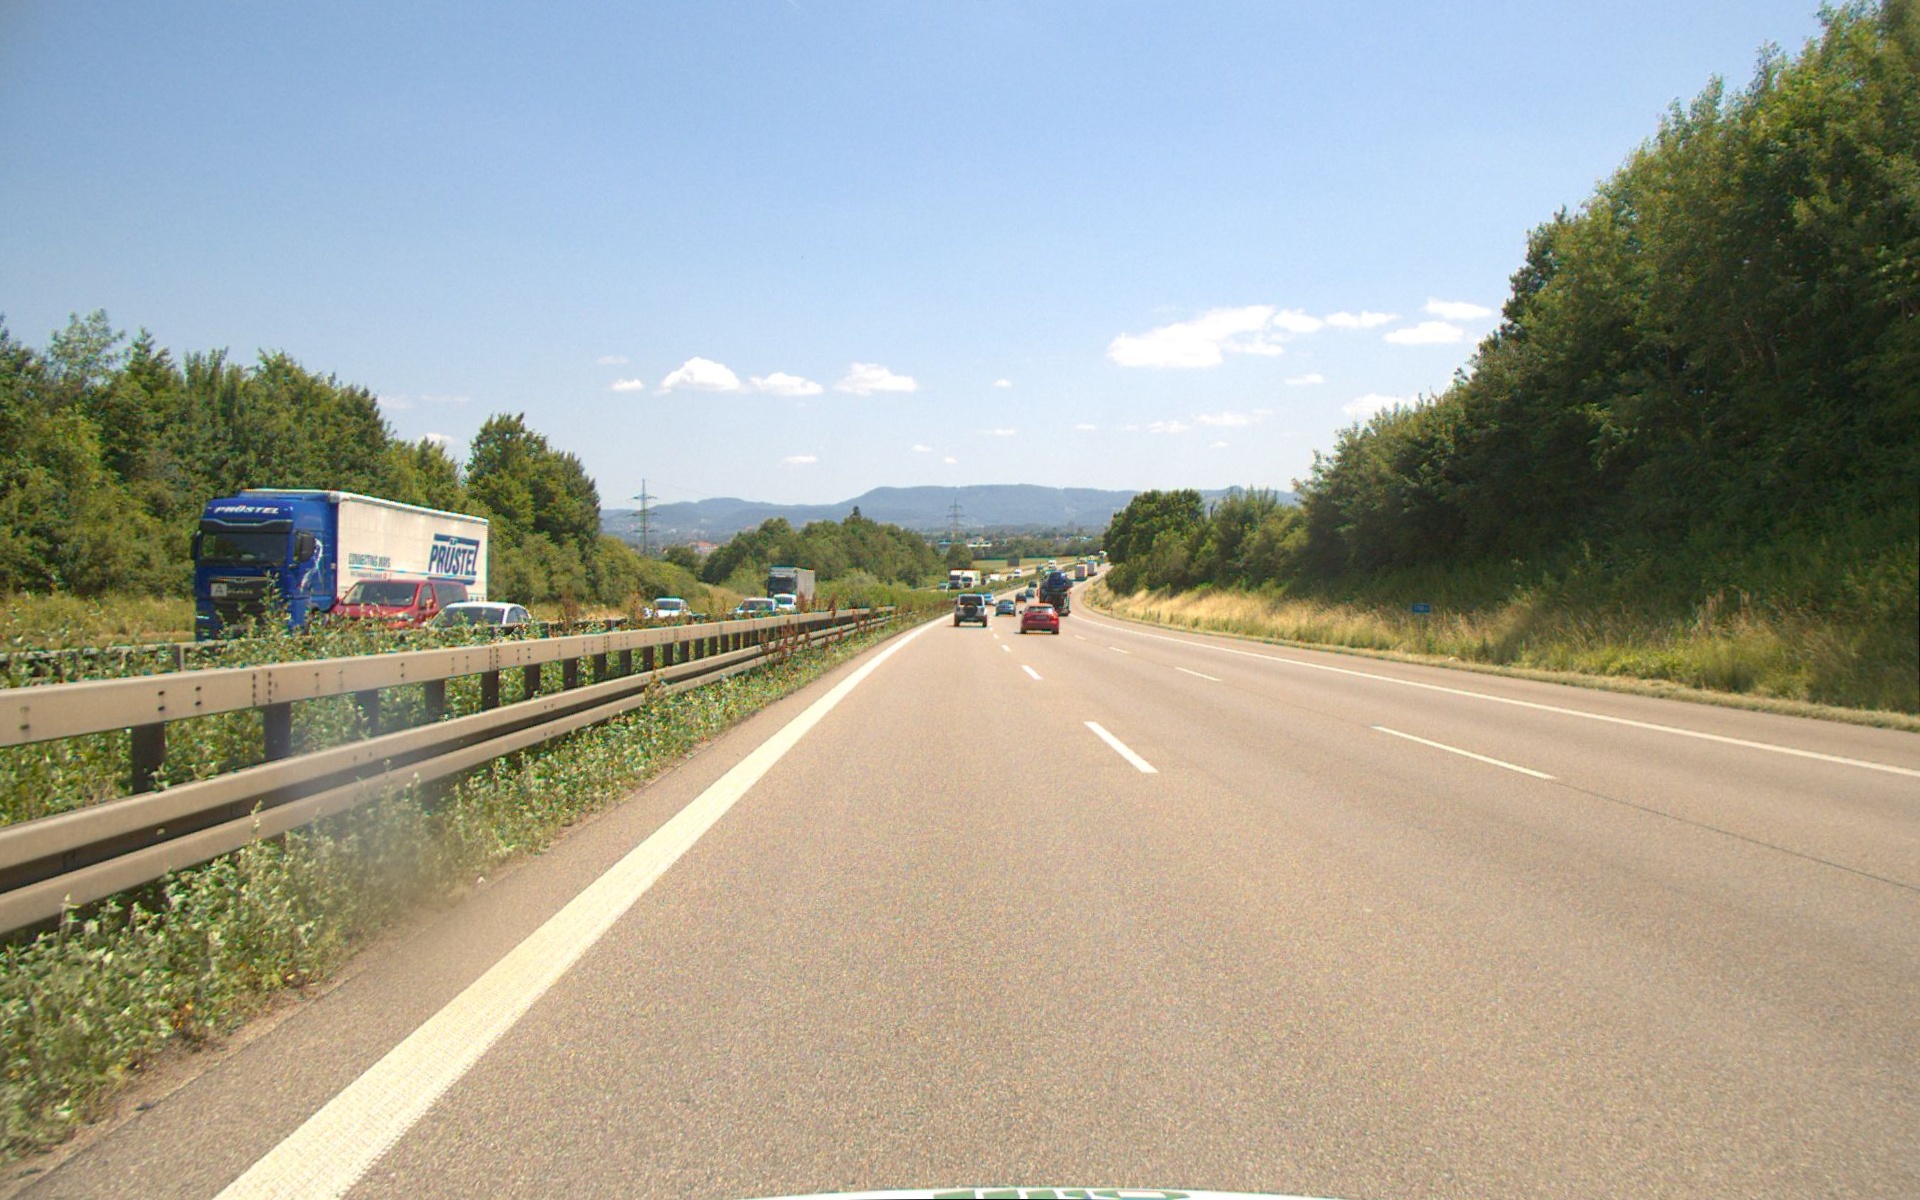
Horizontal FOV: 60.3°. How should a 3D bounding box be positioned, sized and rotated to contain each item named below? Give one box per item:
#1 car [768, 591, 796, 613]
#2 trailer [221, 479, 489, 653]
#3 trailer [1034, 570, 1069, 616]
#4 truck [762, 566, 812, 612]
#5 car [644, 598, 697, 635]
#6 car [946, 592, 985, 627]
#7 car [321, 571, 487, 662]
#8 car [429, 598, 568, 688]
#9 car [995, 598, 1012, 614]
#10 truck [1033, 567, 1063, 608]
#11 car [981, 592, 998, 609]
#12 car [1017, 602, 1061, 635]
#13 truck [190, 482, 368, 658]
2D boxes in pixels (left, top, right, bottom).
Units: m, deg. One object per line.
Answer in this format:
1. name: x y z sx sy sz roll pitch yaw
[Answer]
1. car: -12.636 0.152 117.831 1.469 1.540 4.868 1 0 0
2. trailer: -17.293 -1.000 48.882 2.580 4.327 14.676 1 1 0
3. trailer: 8.549 -0.765 156.575 2.796 4.063 15.401 1 1 2
4. truck: -16.321 -1.038 157.212 2.914 4.084 16.827 1 0 0
5. car: -12.477 0.684 71.475 1.549 1.488 4.357 1 0 -1
6. car: 0.283 0.531 96.004 2.041 1.861 4.752 1 1 -2
7. car: -12.609 0.336 37.921 1.822 1.913 5.824 1 0 0
8. car: -8.755 0.764 31.658 1.591 1.515 3.859 1 1 0
9. car: 3.819 0.493 145.194 1.422 1.289 3.539 1 1 0
10. truck: 8.723 -1.287 164.257 2.697 3.919 6.645 1 1 1
11. car: 3.792 0.021 208.693 1.662 2.048 3.826 1 1 8
12. car: 3.748 0.864 78.618 1.652 1.403 3.946 1 1 -3
13. truck: -17.231 -0.778 42.182 2.442 4.190 5.084 1 1 0
